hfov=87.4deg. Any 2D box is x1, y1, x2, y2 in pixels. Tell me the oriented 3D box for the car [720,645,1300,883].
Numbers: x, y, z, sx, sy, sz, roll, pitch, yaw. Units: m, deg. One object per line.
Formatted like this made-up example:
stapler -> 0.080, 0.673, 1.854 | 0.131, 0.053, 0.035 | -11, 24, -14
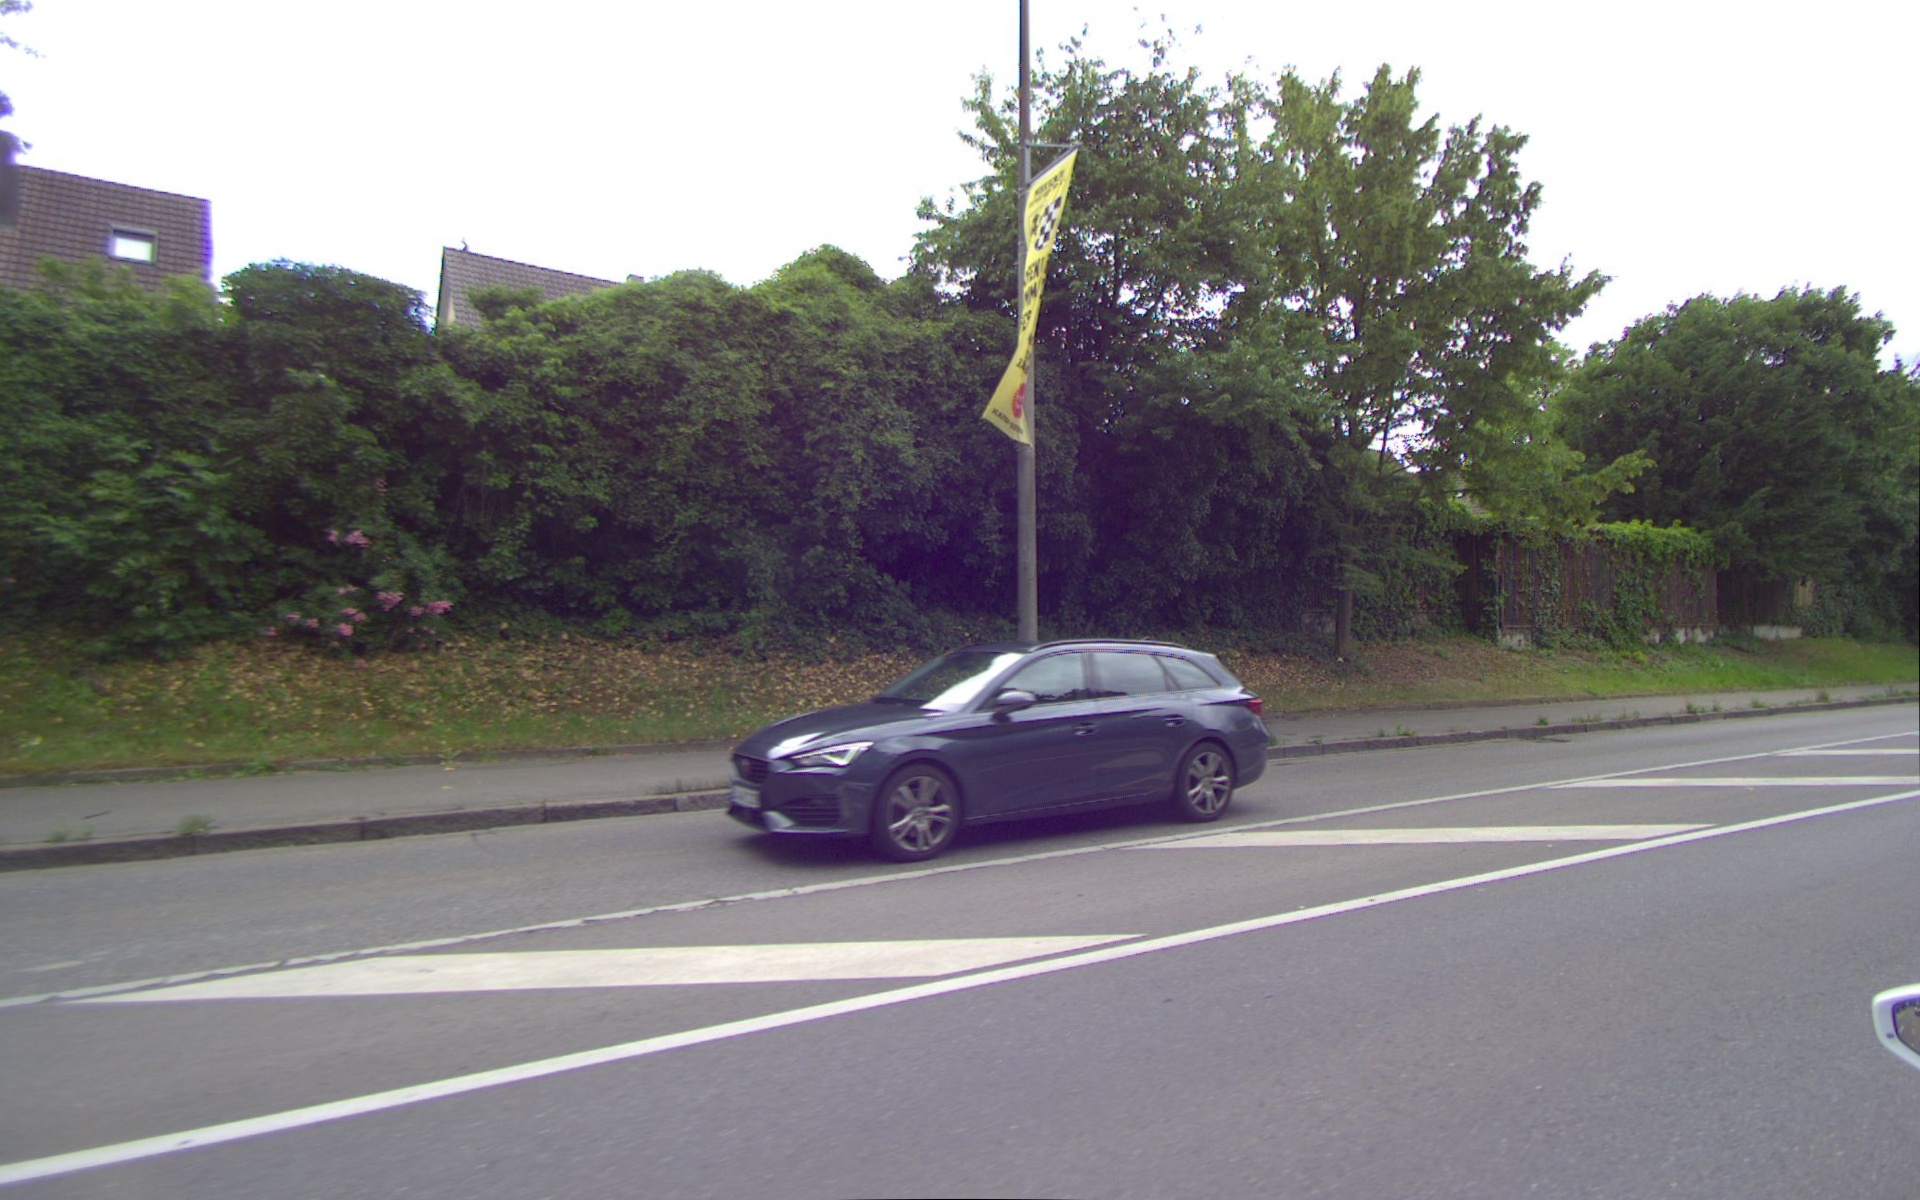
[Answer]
car -> 0.520, 1.073, 7.992 | 4.401, 1.393, 1.831 | 1, -3, -34
